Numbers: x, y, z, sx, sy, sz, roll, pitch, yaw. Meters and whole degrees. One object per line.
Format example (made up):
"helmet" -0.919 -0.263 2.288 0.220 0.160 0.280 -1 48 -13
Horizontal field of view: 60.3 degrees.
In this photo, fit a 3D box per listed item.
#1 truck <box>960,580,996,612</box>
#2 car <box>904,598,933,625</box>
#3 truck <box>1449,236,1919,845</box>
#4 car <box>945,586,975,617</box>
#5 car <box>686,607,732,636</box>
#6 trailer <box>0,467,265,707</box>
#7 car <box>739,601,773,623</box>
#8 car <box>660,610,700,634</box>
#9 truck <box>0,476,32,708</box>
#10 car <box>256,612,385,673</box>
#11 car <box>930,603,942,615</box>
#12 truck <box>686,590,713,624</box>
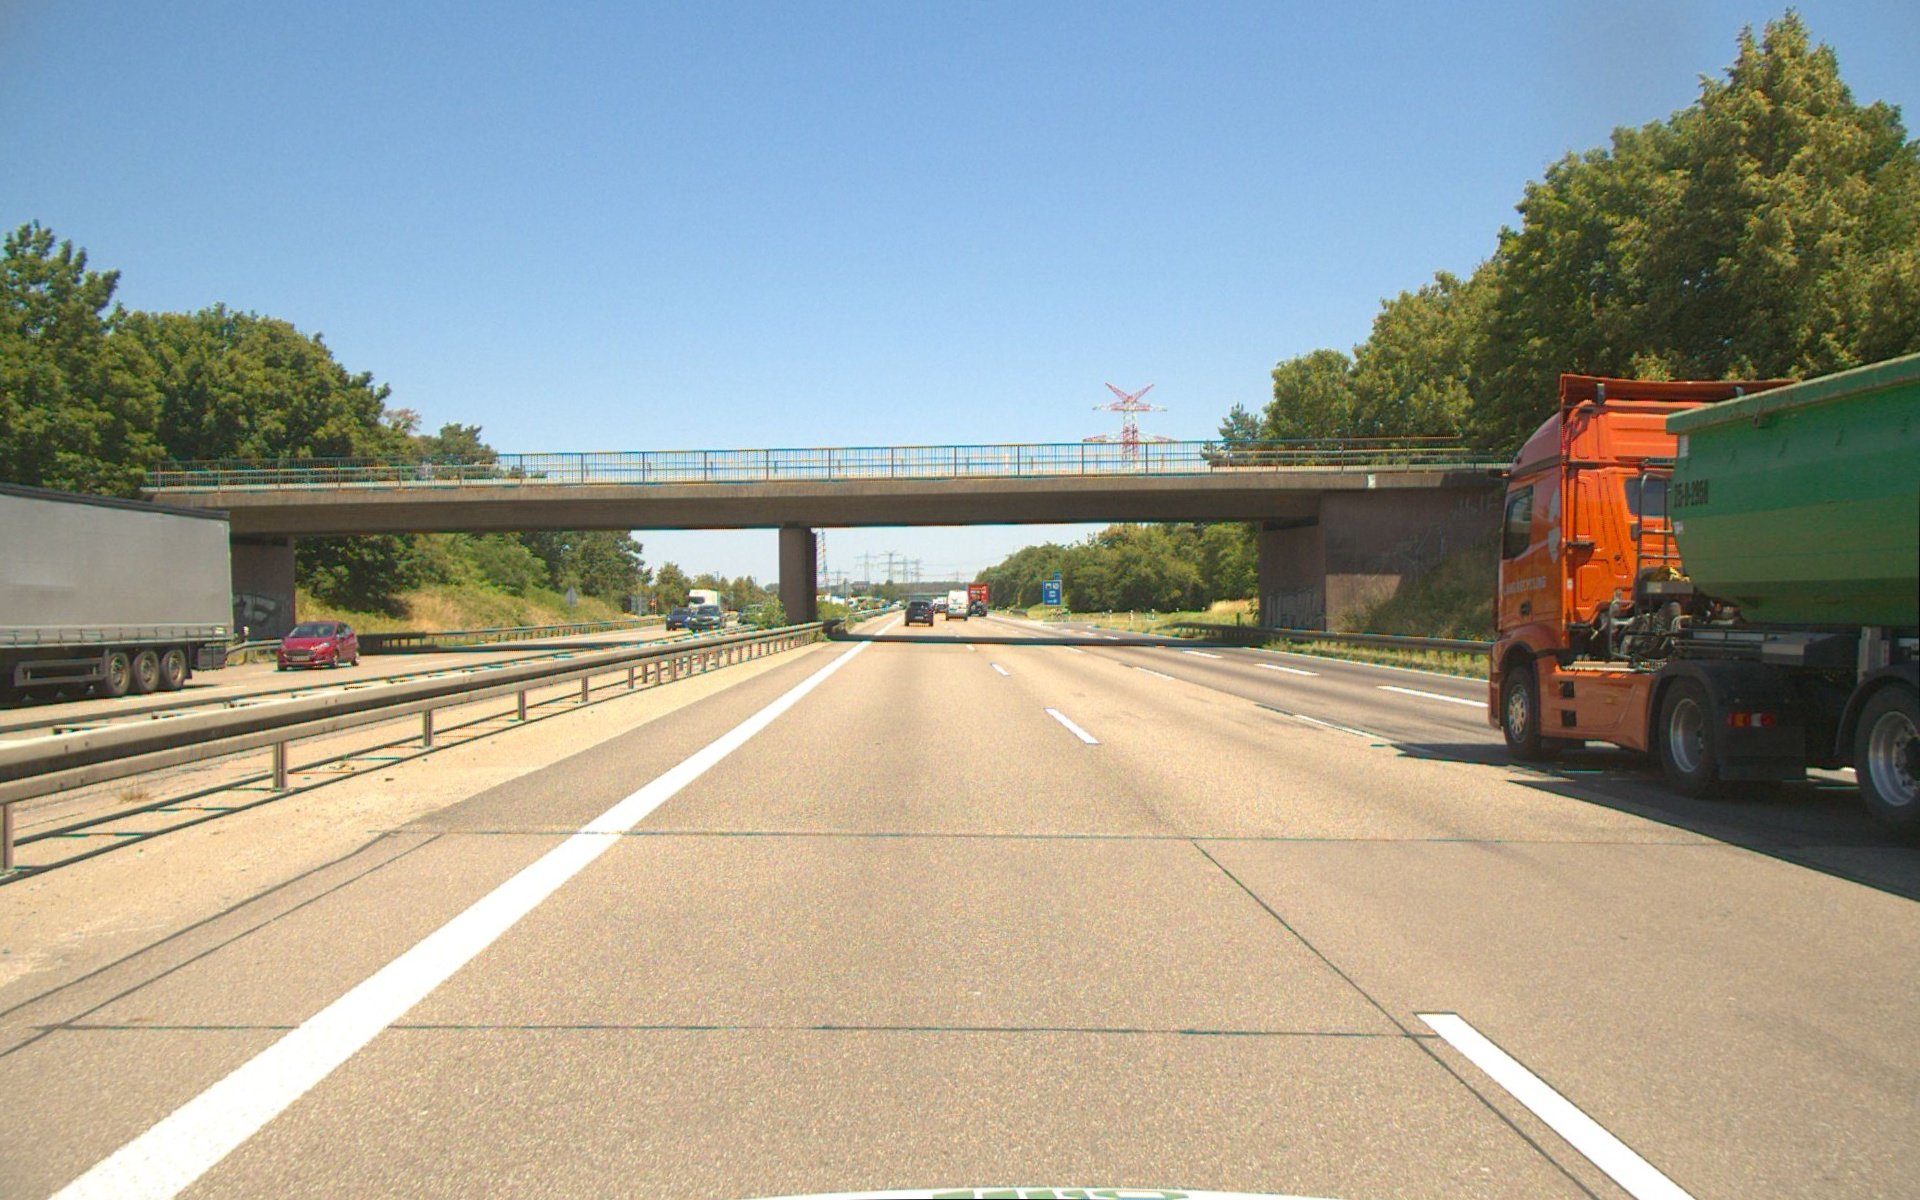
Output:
"truck" 2.244 -0.498 216.456 4.244 4.010 16.074 1 0 -1
"car" -2.832 0.768 112.856 1.953 1.780 3.999 1 0 -2
"truck" 7.323 -0.370 13.546 2.626 3.864 12.474 1 0 -1
"car" -0.022 0.123 155.967 2.568 2.807 6.094 1 0 -1
"car" -15.681 1.307 103.661 2.183 1.639 5.058 -2 0 -2
"trailer" -18.239 -0.173 33.082 2.890 4.179 14.098 -3 0 -1
"car" -16.223 0.923 131.997 2.183 1.639 5.058 -2 0 -2
"car" -20.471 1.600 121.182 2.183 1.639 5.058 -2 0 -2
"truck" -18.033 -0.065 26.041 2.890 4.029 6.950 -3 0 -2
"car" -19.667 1.265 51.088 2.183 1.639 4.786 -2 0 -2
"car" -3.534 1.312 243.501 1.712 1.662 4.002 1 0 -1
"truck" -39.350 1.030 250.036 3.011 4.911 7.709 -3 1 -4
